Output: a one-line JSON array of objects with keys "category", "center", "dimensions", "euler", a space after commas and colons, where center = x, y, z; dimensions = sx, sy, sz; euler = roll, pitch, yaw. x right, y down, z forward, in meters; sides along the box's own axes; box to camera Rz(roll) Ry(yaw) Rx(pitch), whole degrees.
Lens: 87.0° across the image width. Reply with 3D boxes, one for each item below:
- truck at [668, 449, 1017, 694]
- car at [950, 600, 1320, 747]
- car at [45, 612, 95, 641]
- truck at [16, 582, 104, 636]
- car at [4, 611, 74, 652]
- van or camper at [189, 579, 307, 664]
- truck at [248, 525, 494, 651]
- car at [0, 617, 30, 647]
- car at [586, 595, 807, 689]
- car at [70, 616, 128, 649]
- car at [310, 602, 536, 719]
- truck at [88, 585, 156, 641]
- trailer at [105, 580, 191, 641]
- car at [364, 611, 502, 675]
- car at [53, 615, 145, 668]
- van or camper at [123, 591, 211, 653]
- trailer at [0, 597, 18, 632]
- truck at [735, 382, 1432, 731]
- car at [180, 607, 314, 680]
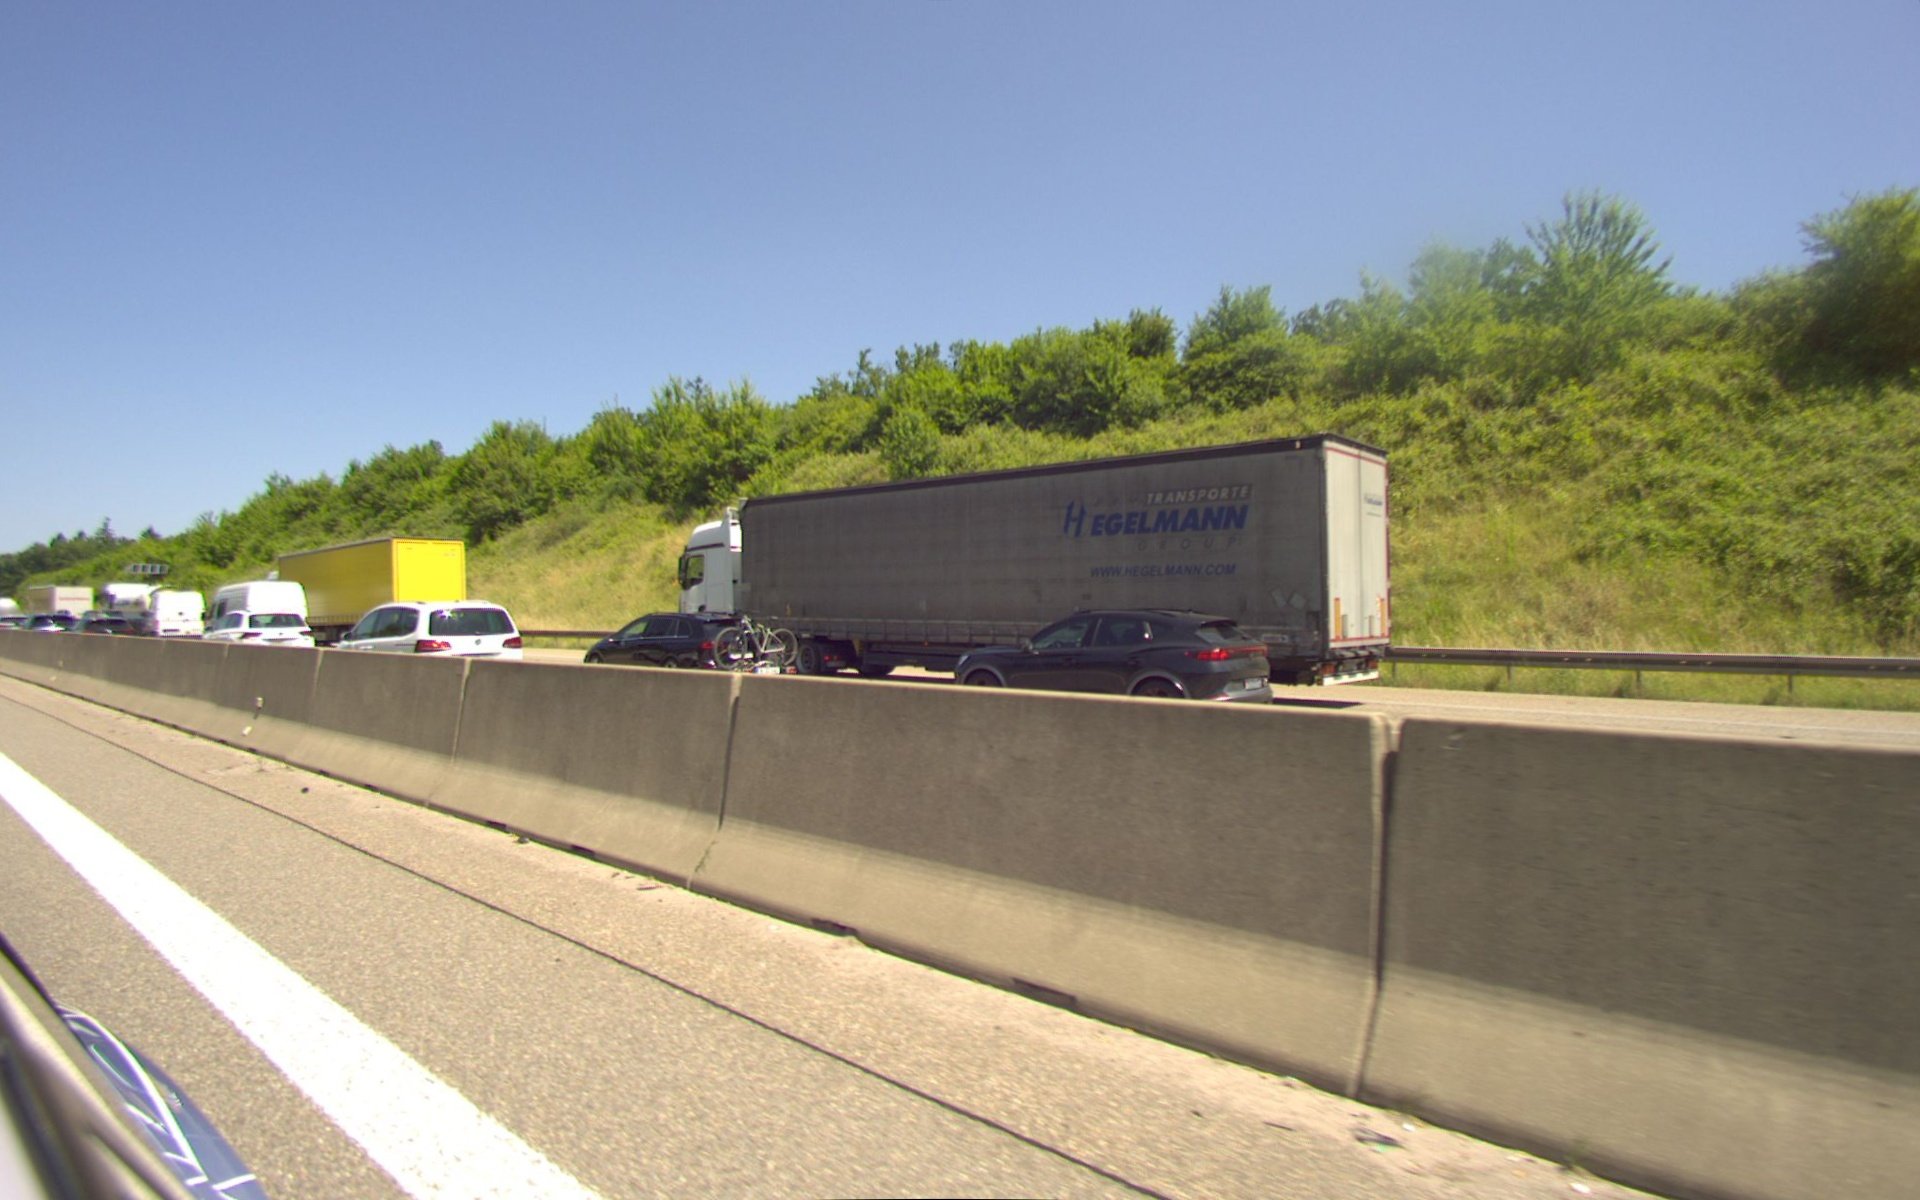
[{"category": "truck", "center": [-2.962, -0.528, 22.811], "dimensions": [8.604, 4.550, 2.910], "euler": [0, 0, 43]}, {"category": "car", "center": [2.109, 0.804, 13.064], "dimensions": [4.447, 1.569, 1.778], "euler": [0, 0, 41]}, {"category": "car", "center": [-58.481, 1.727, 66.493], "dimensions": [4.988, 1.778, 1.809], "euler": [0, 0, 41]}, {"category": "truck", "center": [-81.343, 0.754, 91.260], "dimensions": [17.371, 4.490, 3.658], "euler": [0, 0, 41]}, {"category": "car", "center": [-42.821, 1.428, 47.017], "dimensions": [4.987, 1.778, 1.809], "euler": [0, 0, 40]}, {"category": "van or camper", "center": [-27.209, 0.761, 38.546], "dimensions": [7.535, 2.961, 2.173], "euler": [0, 0, 43]}, {"category": "truck", "center": [-25.400, -0.413, 42.800], "dimensions": [16.662, 4.490, 3.659], "euler": [0, 0, 40]}, {"category": "car", "center": [-52.083, 1.709, 54.821], "dimensions": [4.754, 1.508, 1.810], "euler": [0, 0, 39]}, {"category": "car", "center": [-5.100, 0.712, 19.246], "dimensions": [4.520, 1.576, 1.809], "euler": [0, 0, 40]}, {"category": "car", "center": [-49.637, 1.820, 58.334], "dimensions": [4.759, 1.741, 1.976], "euler": [0, 0, 42]}, {"category": "car", "center": [-9.587, 0.939, 17.876], "dimensions": [4.987, 1.778, 1.809], "euler": [0, 0, 40]}, {"category": "truck", "center": [-59.135, 0.860, 71.409], "dimensions": [5.867, 3.771, 2.652], "euler": [0, 0, 40]}, {"category": "trailer", "center": [-53.854, 0.734, 66.950], "dimensions": [10.675, 3.761, 2.583], "euler": [-1, -1, 41]}, {"category": "car", "center": [-14.566, 1.124, 27.856], "dimensions": [4.520, 1.576, 1.809], "euler": [0, 0, 40]}, {"category": "car", "center": [-31.552, 1.453, 37.040], "dimensions": [4.987, 1.778, 1.809], "euler": [0, 0, 40]}, {"category": "van or camper", "center": [-38.519, 1.001, 49.059], "dimensions": [7.217, 2.796, 2.227], "euler": [0, 0, 43]}, {"category": "trailer", "center": [-110.920, 1.755, 116.173], "dimensions": [11.685, 3.319, 2.552], "euler": [-5, -3, 40]}, {"category": "truck", "center": [1.092, -0.562, 19.085], "dimensions": [13.922, 4.577, 2.963], "euler": [0, 0, 42]}, {"category": "car", "center": [-19.574, 1.107, 27.681], "dimensions": [4.987, 1.778, 1.809], "euler": [0, 0, 40]}]
